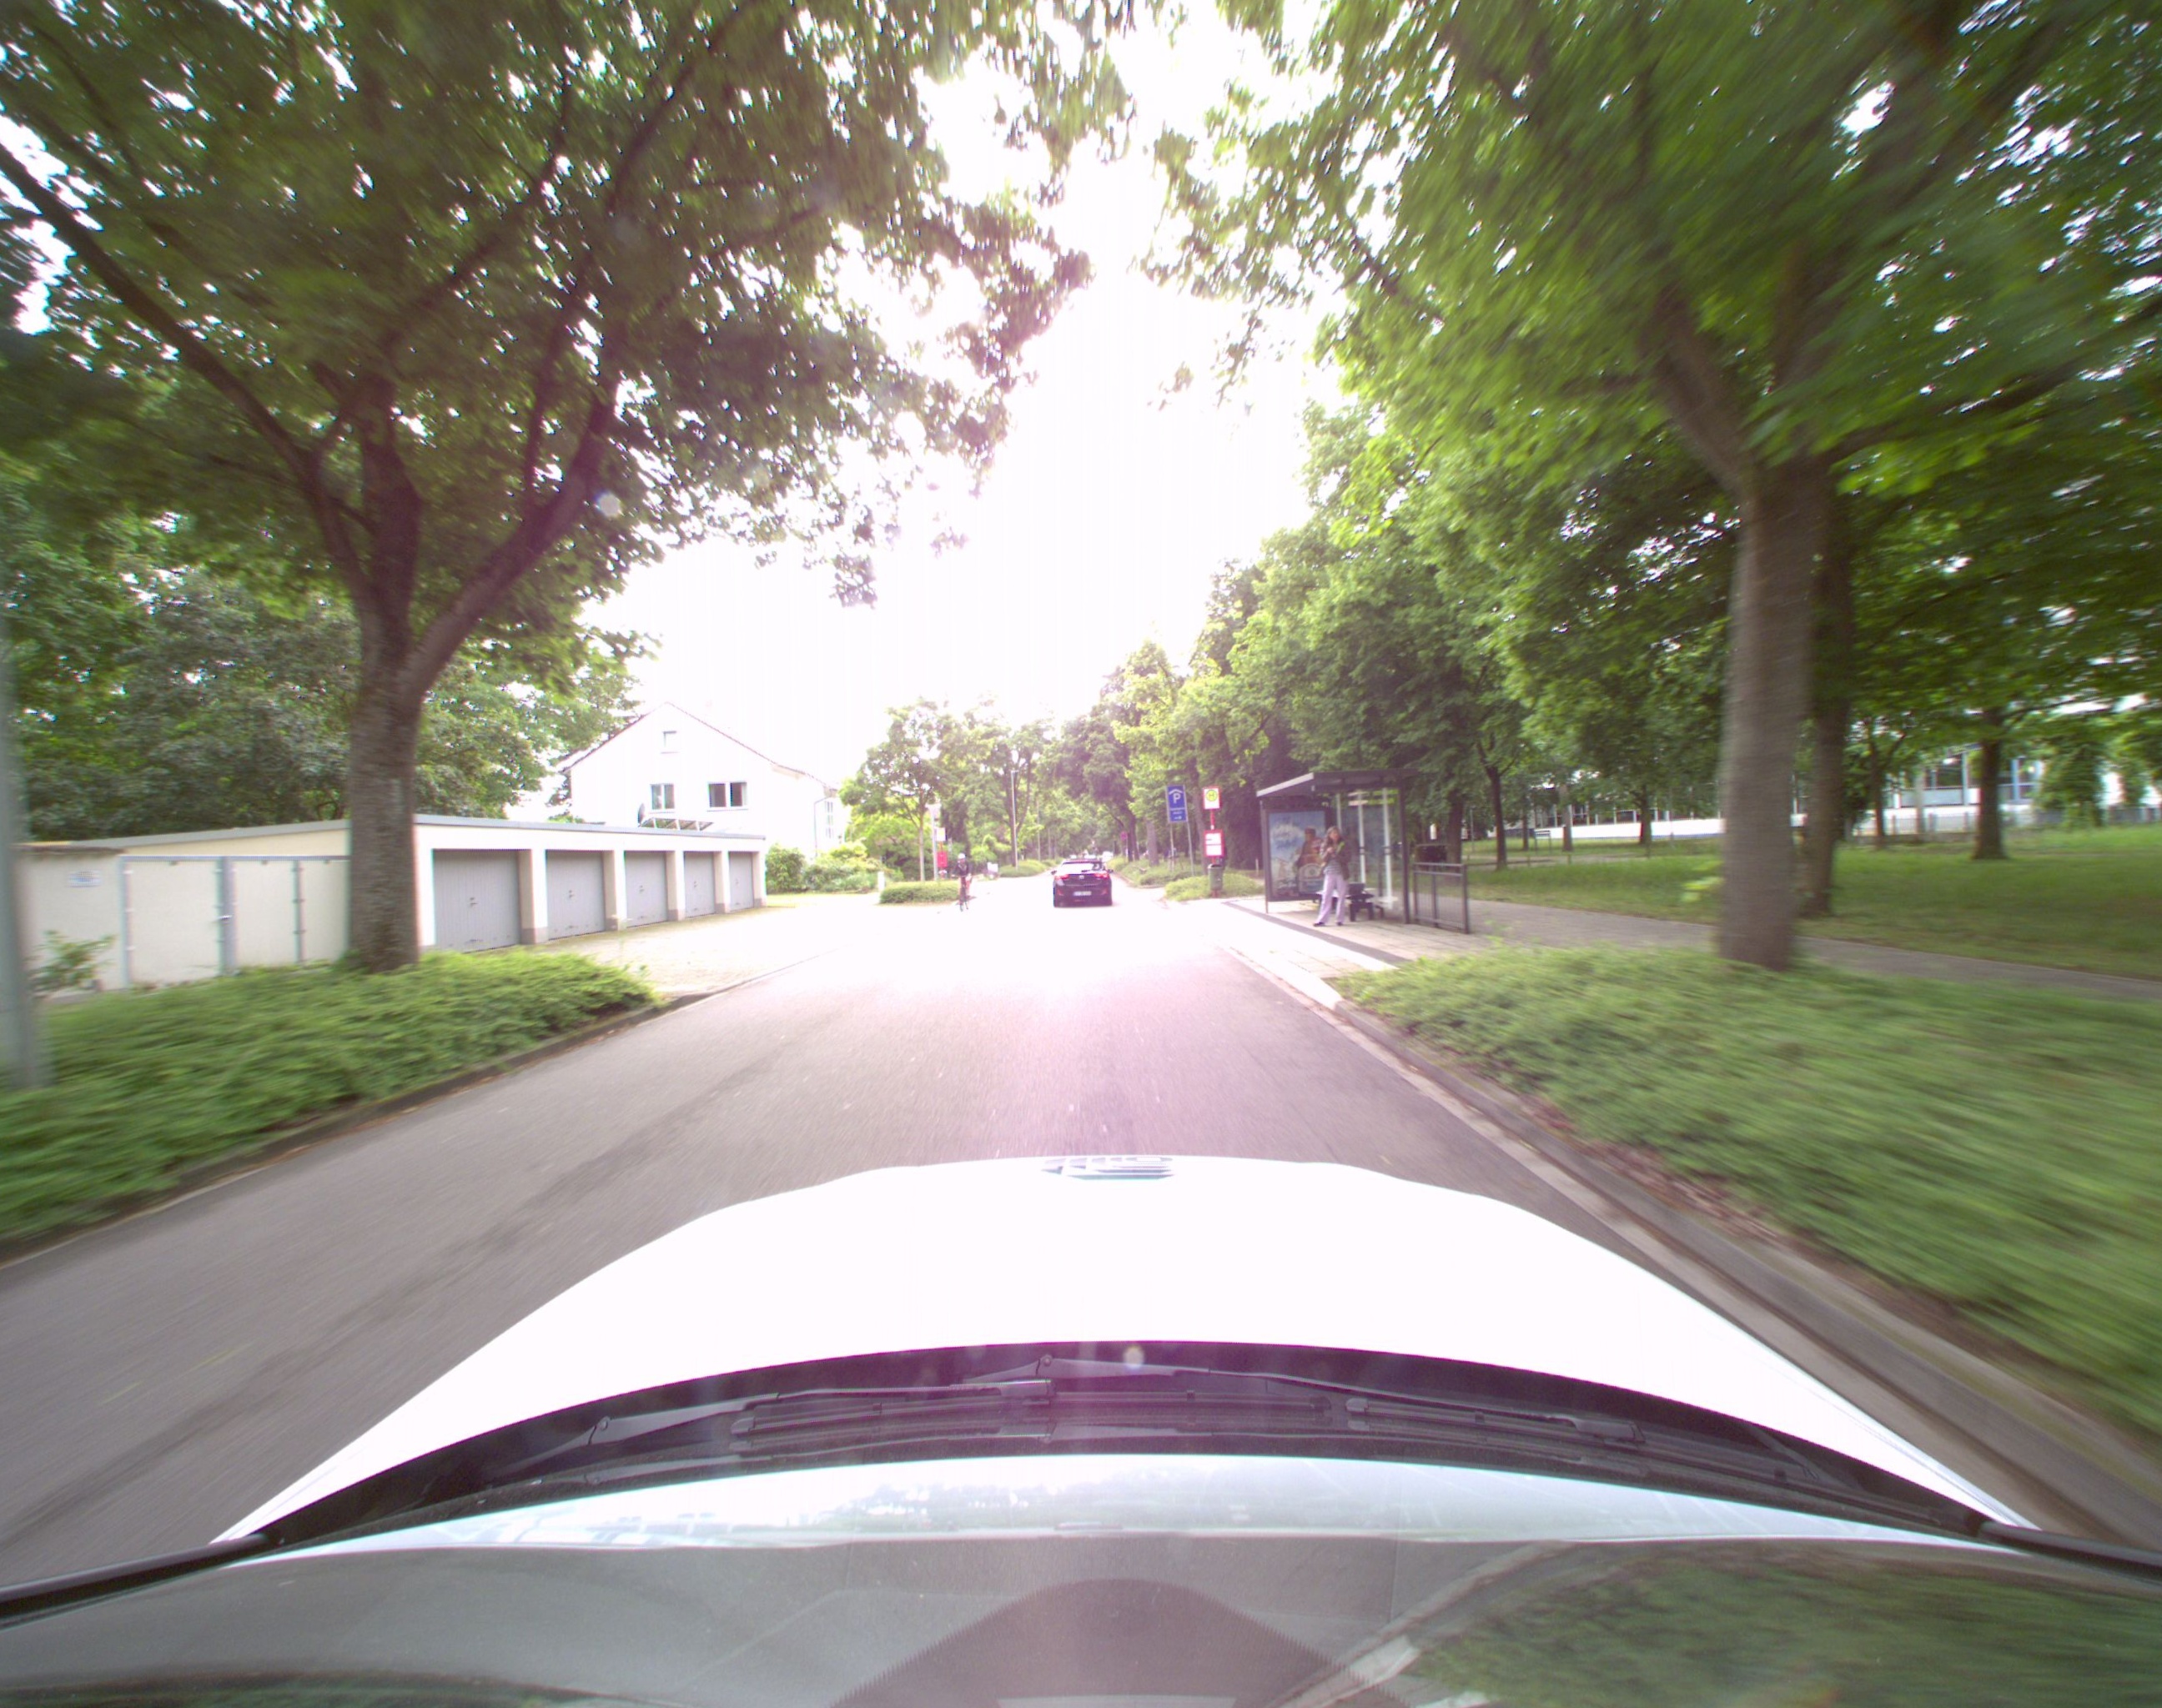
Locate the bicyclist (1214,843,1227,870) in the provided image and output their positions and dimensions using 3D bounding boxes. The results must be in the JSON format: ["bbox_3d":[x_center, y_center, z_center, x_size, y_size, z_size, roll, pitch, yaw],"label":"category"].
[{"bbox_3d":[7.468,0.113,43.616,0.593,1.409,0.760,-4,0,7],"label":"bicyclist"}]

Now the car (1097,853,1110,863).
[{"bbox_3d":[4.827,0.776,174.867,1.992,2.013,3.990,-4,0,-7],"label":"car"}]

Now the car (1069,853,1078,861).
[{"bbox_3d":[-1.496,0.532,155.070,1.558,1.437,4.212,-4,0,-2],"label":"car"}]

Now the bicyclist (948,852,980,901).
[{"bbox_3d":[-3.670,0.684,25.543,0.782,1.469,0.937,-3,0,0],"label":"bicyclist"}]

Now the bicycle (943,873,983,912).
[{"bbox_3d":[-3.659,1.183,25.490,0.791,1.025,2.565,-3,0,1],"label":"bicycle"}]

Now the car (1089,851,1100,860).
[{"bbox_3d":[2.456,0.306,153.194,1.987,1.486,4.000,-4,0,0],"label":"car"}]

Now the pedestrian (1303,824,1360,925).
[{"bbox_3d":[4.125,0.322,13.434,0.651,1.583,0.698,-3,0,0],"label":"pedestrian"}]

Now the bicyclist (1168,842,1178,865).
[{"bbox_3d":[6.443,-0.056,56.955,0.532,1.549,0.760,-4,0,7],"label":"bicyclist"}]

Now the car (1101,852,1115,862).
[{"bbox_3d":[4.114,0.434,126.134,1.894,1.486,3.997,-2,0,-2],"label":"car"}]

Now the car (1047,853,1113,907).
[{"bbox_3d":[-0.037,0.752,25.410,1.840,1.462,3.826,-2,0,-1],"label":"car"}]

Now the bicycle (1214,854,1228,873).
[{"bbox_3d":[7.502,0.491,43.646,0.604,0.975,1.948,-4,0,7],"label":"bicycle"}]

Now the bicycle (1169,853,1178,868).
[{"bbox_3d":[6.461,0.444,56.907,0.489,0.975,1.948,-4,0,7],"label":"bicycle"}]

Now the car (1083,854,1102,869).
[{"bbox_3d":[1.276,0.814,91.143,1.860,1.462,4.113,-3,0,-3],"label":"car"}]
